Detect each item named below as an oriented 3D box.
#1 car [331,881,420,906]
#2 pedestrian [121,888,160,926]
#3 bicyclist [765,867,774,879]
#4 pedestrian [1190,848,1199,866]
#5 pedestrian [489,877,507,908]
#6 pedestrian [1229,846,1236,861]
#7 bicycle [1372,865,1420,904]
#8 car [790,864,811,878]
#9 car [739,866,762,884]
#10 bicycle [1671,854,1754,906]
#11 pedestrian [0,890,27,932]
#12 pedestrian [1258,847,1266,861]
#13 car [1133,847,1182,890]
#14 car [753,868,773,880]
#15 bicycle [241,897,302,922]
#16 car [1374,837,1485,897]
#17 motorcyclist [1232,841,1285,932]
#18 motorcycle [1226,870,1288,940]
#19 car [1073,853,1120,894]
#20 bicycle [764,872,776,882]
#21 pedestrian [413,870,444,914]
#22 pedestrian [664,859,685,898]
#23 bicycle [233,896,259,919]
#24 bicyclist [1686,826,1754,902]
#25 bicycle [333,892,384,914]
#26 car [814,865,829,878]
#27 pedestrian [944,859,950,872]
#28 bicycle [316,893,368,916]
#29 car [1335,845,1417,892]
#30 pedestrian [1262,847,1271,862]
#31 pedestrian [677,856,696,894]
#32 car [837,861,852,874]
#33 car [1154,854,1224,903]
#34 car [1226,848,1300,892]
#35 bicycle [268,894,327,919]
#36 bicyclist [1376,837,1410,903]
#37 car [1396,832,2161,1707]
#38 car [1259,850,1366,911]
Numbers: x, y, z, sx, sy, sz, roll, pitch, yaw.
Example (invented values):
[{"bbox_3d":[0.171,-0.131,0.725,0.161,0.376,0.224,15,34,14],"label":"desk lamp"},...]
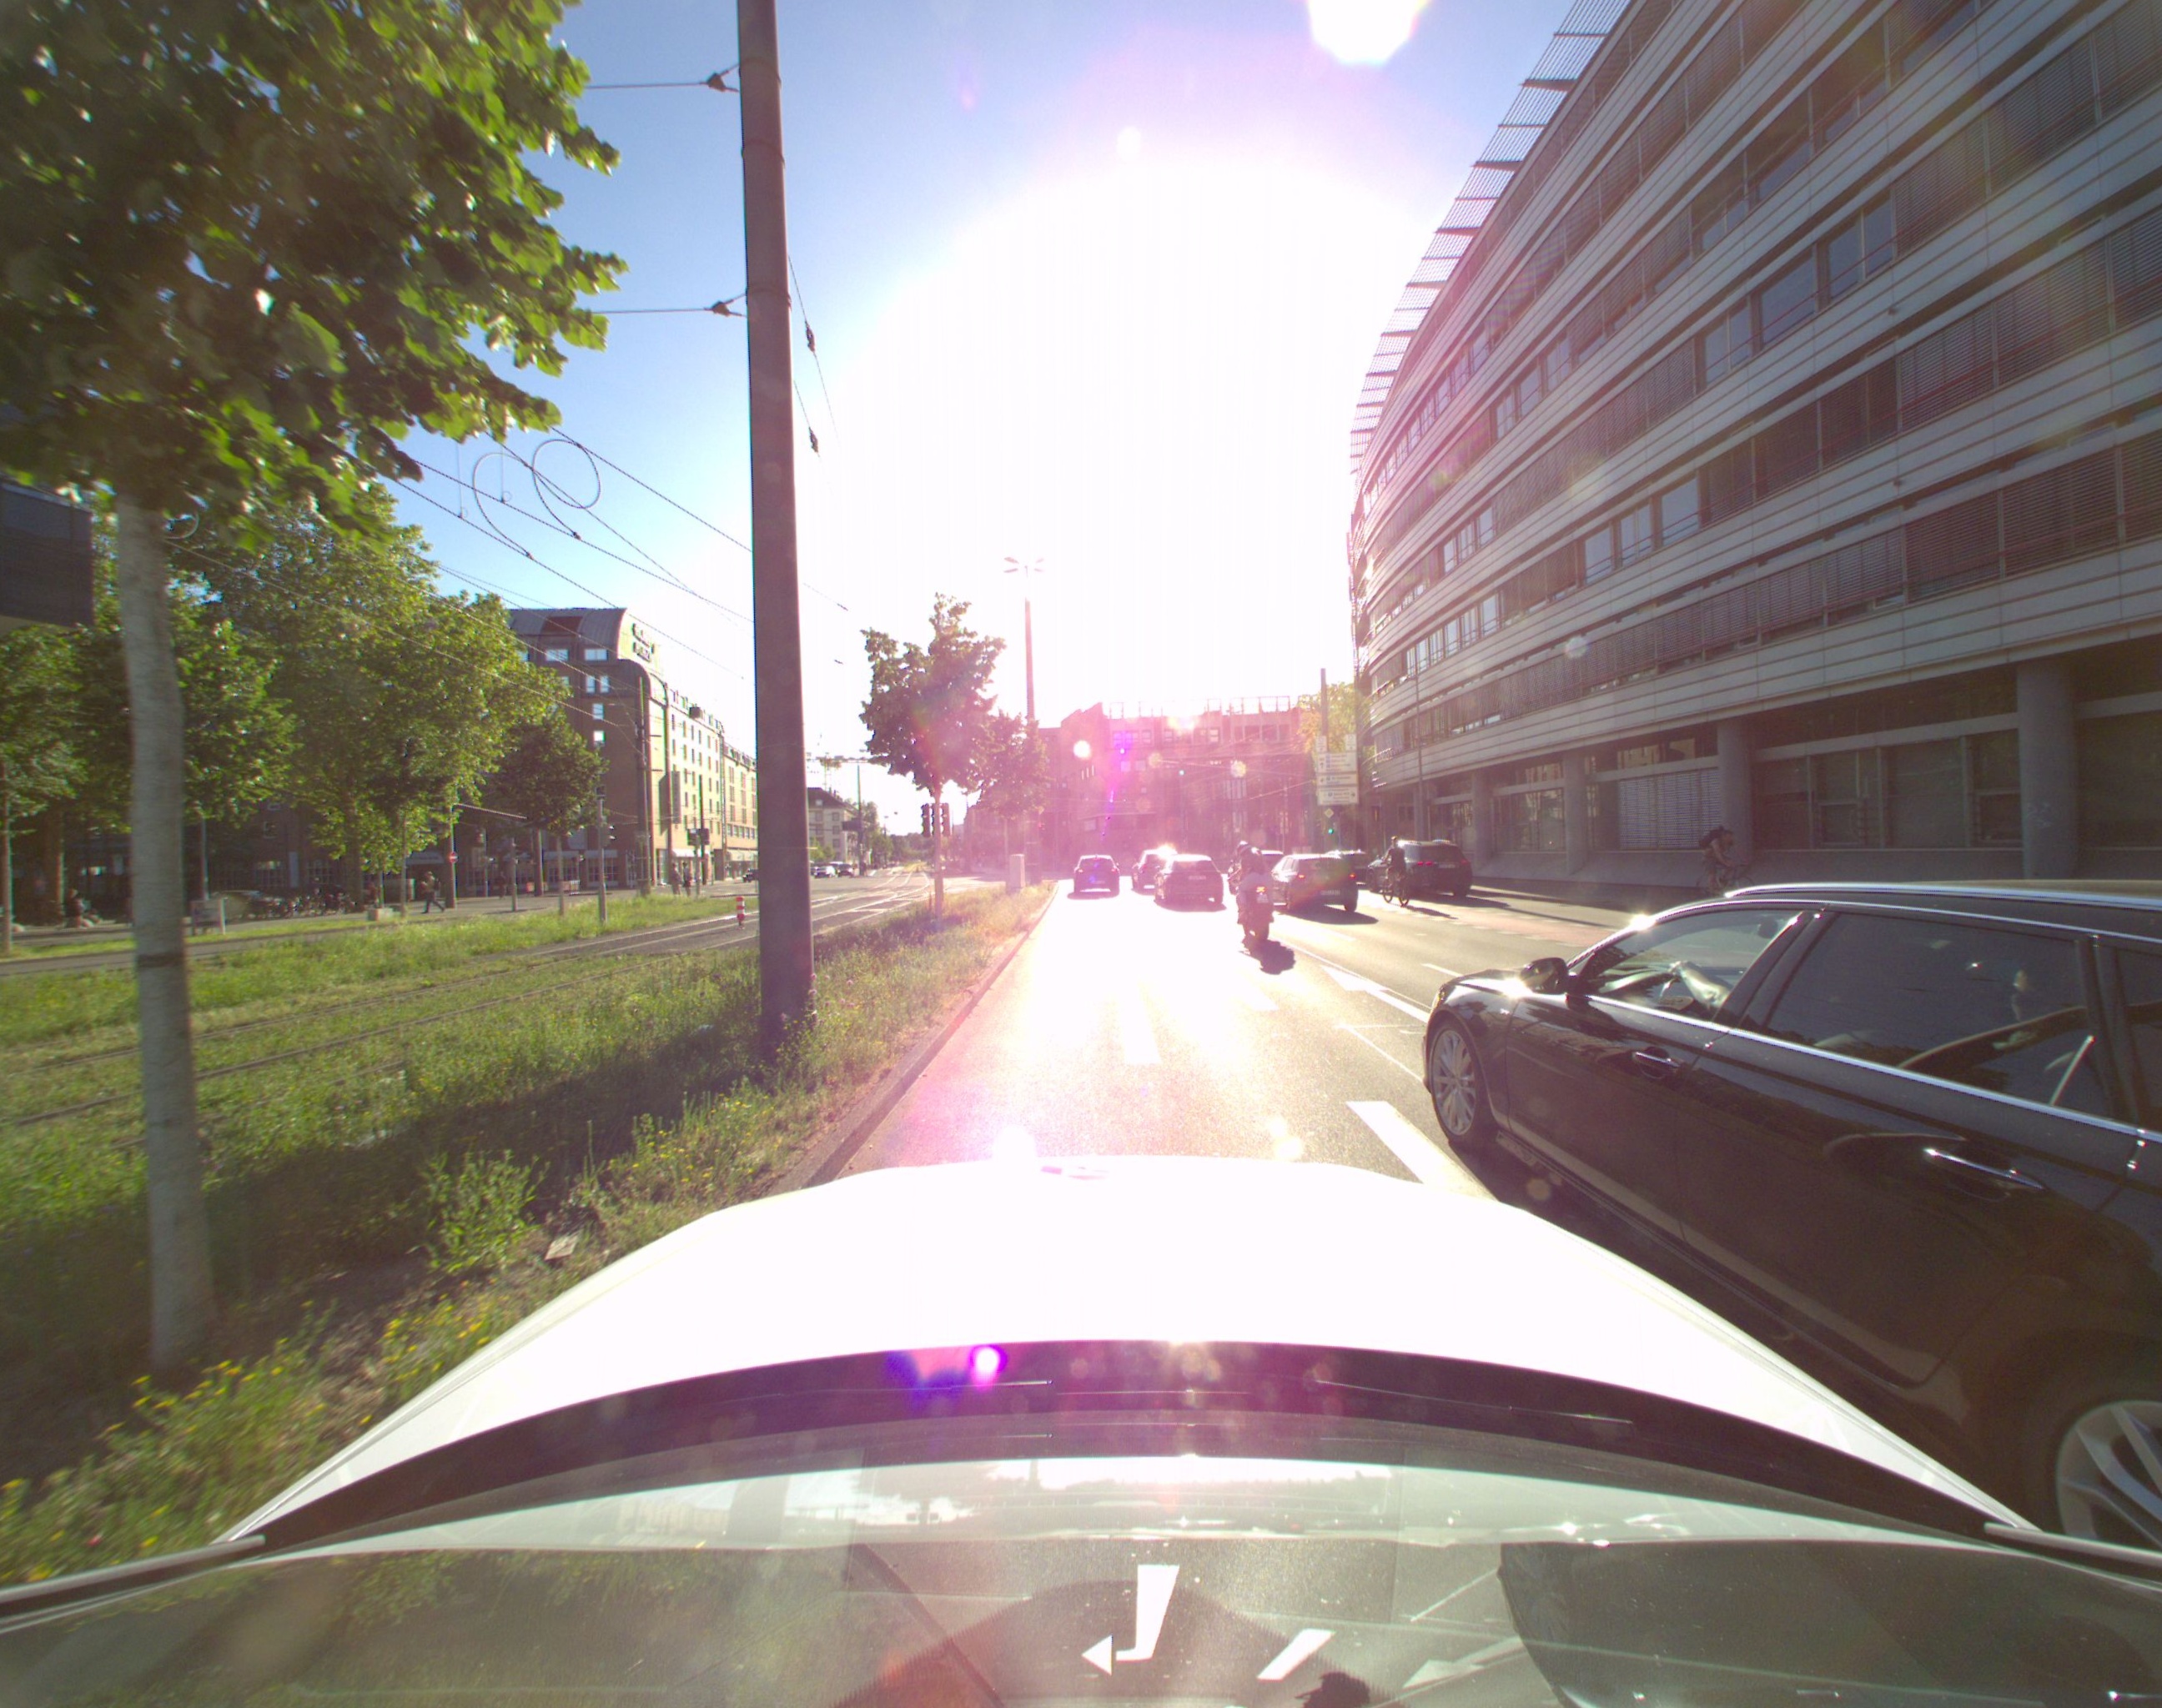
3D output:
[{"bbox_3d":[-45.607,2.533,52.688,3.982,1.420,1.756,-2,0,-7],"label":"car"},{"bbox_3d":[-41.049,2.319,35.539,0.729,1.597,0.839,-1,0,5],"label":"pedestrian"},{"bbox_3d":[-36.823,2.188,96.303,0.757,1.375,0.948,-2,0,-7],"label":"bicyclist"},{"bbox_3d":[11.157,0.278,80.079,0.700,1.759,0.564,-2,0,25],"label":"pedestrian"},{"bbox_3d":[-39.415,2.613,55.030,0.663,2.013,0.678,-2,0,1],"label":"pedestrian"},{"bbox_3d":[14.598,-0.088,78.466,0.528,1.430,0.598,-2,0,0],"label":"pedestrian"},{"bbox_3d":[8.846,0.838,22.961,0.490,0.997,2.329,-2,0,2],"label":"bicycle"},{"bbox_3d":[-35.584,2.093,103.481,1.996,1.596,4.717,-2,0,-13],"label":"car"},{"bbox_3d":[-40.770,2.584,100.541,1.996,2.013,3.982,-2,0,-13],"label":"car"},{"bbox_3d":[13.786,0.547,17.840,0.502,1.058,1.703,-4,-1,3],"label":"bicycle"},{"bbox_3d":[-43.152,2.281,32.616,0.729,1.645,0.839,-2,0,5],"label":"pedestrian"},{"bbox_3d":[20.442,0.004,91.998,0.895,1.617,0.562,-2,0,8],"label":"pedestrian"},{"bbox_3d":[3.110,0.559,33.877,1.731,1.651,4.001,-2,0,1],"label":"car"},{"bbox_3d":[-42.171,2.640,108.022,1.887,1.510,3.982,-2,0,-13],"label":"car"},{"bbox_3d":[-34.323,2.354,34.531,1.769,0.951,0.538,-2,0,-15],"label":"bicycle"},{"bbox_3d":[11.292,0.381,26.721,1.985,1.750,4.333,-2,0,4],"label":"car"},{"bbox_3d":[3.132,0.558,14.454,0.741,1.530,1.022,-2,0,4],"label":"motorcyclist"},{"bbox_3d":[3.148,0.877,14.734,0.772,1.115,1.971,-2,0,3],"label":"motorcycle"},{"bbox_3d":[0.604,0.689,31.367,1.643,1.433,4.001,-2,0,1],"label":"car"},{"bbox_3d":[-36.904,2.726,96.701,0.649,1.085,2.919,-2,0,-8],"label":"bicycle"},{"bbox_3d":[-30.220,1.741,37.712,0.729,2.014,0.839,-1,0,5],"label":"pedestrian"},{"bbox_3d":[-19.124,1.143,38.320,0.631,1.830,0.661,-2,0,-6],"label":"pedestrian"},{"bbox_3d":[-36.596,2.332,35.688,1.748,0.951,0.545,-2,0,36],"label":"bicycle"},{"bbox_3d":[14.042,0.212,17.914,0.681,1.618,0.992,-2,0,2],"label":"bicyclist"},{"bbox_3d":[-34.054,2.314,38.385,1.764,0.951,0.540,-2,0,-7],"label":"bicycle"},{"bbox_3d":[-32.923,2.214,103.294,1.749,1.505,3.858,-2,0,-17],"label":"car"},{"bbox_3d":[-17.661,1.508,107.335,0.743,1.640,0.764,-2,0,-13],"label":"pedestrian"},{"bbox_3d":[-34.081,2.313,37.572,1.764,0.951,0.540,-2,0,-7],"label":"bicycle"},{"bbox_3d":[11.375,0.534,31.657,1.984,1.651,4.005,-2,0,4],"label":"car"},{"bbox_3d":[21.199,0.057,93.161,0.895,1.617,0.562,-2,0,8],"label":"pedestrian"},{"bbox_3d":[-19.082,1.021,39.404,0.562,1.817,0.661,-2,0,-6],"label":"pedestrian"},{"bbox_3d":[-29.873,1.707,102.751,1.749,1.505,3.858,-2,0,-17],"label":"car"},{"bbox_3d":[3.277,0.708,25.407,1.731,1.349,4.001,-2,0,1],"label":"car"},{"bbox_3d":[6.423,0.535,29.129,1.801,1.457,4.001,-1,0,1],"label":"car"},{"bbox_3d":[-34.514,2.313,35.910,1.775,0.951,0.536,-2,0,-27],"label":"bicycle"},{"bbox_3d":[8.818,0.440,23.012,0.575,1.791,0.863,-2,0,0],"label":"bicyclist"},{"bbox_3d":[2.720,0.709,2.649,1.804,1.492,4.498,0,0,2],"label":"car"},{"bbox_3d":[6.060,0.635,21.792,1.801,1.457,4.001,-1,0,1],"label":"car"}]
